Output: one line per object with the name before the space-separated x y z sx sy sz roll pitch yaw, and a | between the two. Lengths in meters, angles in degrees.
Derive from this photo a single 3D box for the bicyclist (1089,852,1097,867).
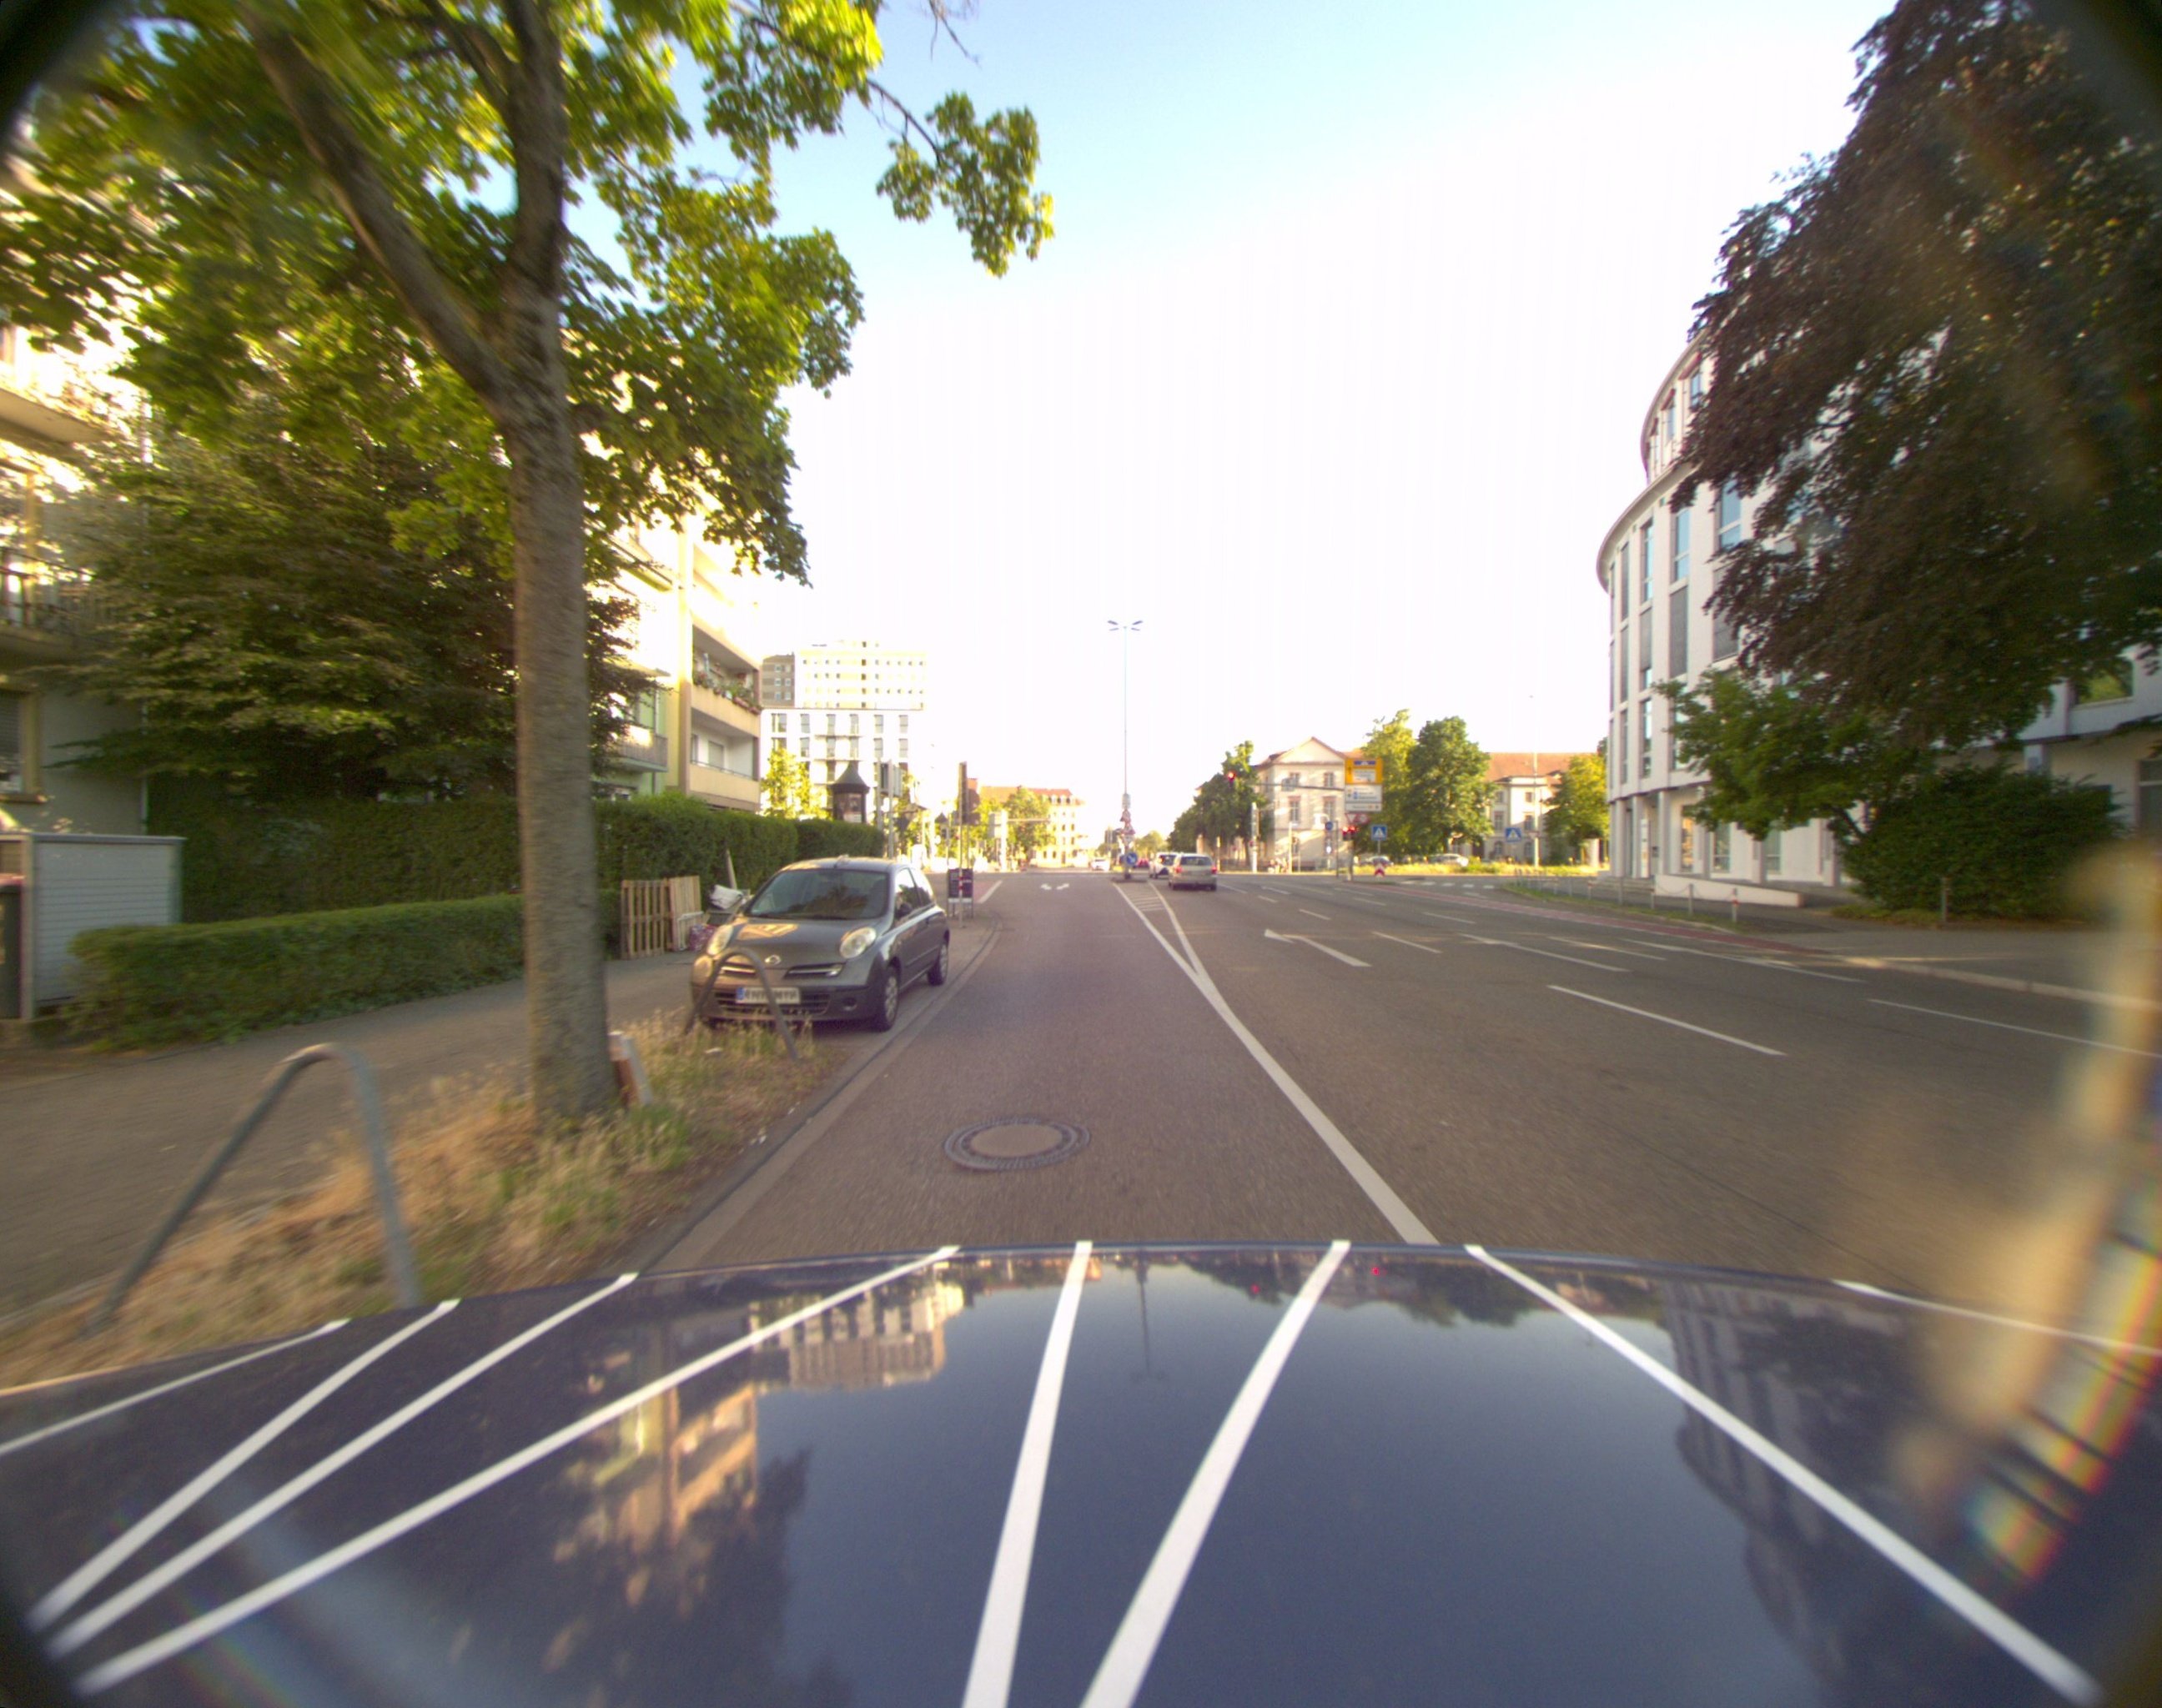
bicyclist | 1.254 0.541 80.695 0.838 1.594 1.023 0 0 -1

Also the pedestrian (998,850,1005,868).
pedestrian | -7.931 0.502 76.237 0.500 1.866 0.601 0 0 -28

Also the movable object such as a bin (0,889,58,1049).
movable object such as a bin | -8.576 0.886 5.743 0.554 1.214 0.828 0 0 1

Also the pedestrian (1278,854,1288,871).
pedestrian | 19.835 0.856 74.725 0.678 1.641 0.882 0 0 -8

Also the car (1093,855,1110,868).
car | 2.274 0.822 85.332 1.764 1.489 3.708 0 0 1

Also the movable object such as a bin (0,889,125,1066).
movable object such as a bin | -7.962 0.895 5.688 0.554 1.232 0.828 0 0 1

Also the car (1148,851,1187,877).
car | 4.955 0.561 44.103 1.832 1.452 3.902 0 0 0

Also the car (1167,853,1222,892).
car | 4.611 0.721 31.338 1.832 1.505 4.605 0 0 3

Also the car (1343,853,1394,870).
car | 24.846 0.660 65.706 3.645 1.437 1.999 0 0 -4

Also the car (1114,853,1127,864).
car | 6.353 0.699 123.819 1.832 1.836 4.947 0 0 0

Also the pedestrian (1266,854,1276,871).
pedestrian | 18.681 0.807 74.756 0.621 1.641 0.889 0 0 -8

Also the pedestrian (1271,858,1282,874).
pedestrian | 20.280 1.259 78.764 0.678 1.698 1.084 0 0 -8

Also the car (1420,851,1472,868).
car | 31.948 0.482 66.567 3.645 1.437 1.999 0 0 -4

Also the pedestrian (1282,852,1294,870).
pedestrian | 21.493 0.764 78.846 0.821 1.838 1.169 0 0 -8

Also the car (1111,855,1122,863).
car | 6.393 0.858 137.796 1.765 1.454 4.292 0 0 -1

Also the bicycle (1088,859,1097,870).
bicycle | 1.237 1.117 80.584 0.834 1.101 2.080 0 0 -1

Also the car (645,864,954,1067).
car | -2.489 0.892 7.720 1.736 1.542 3.646 0 0 1
